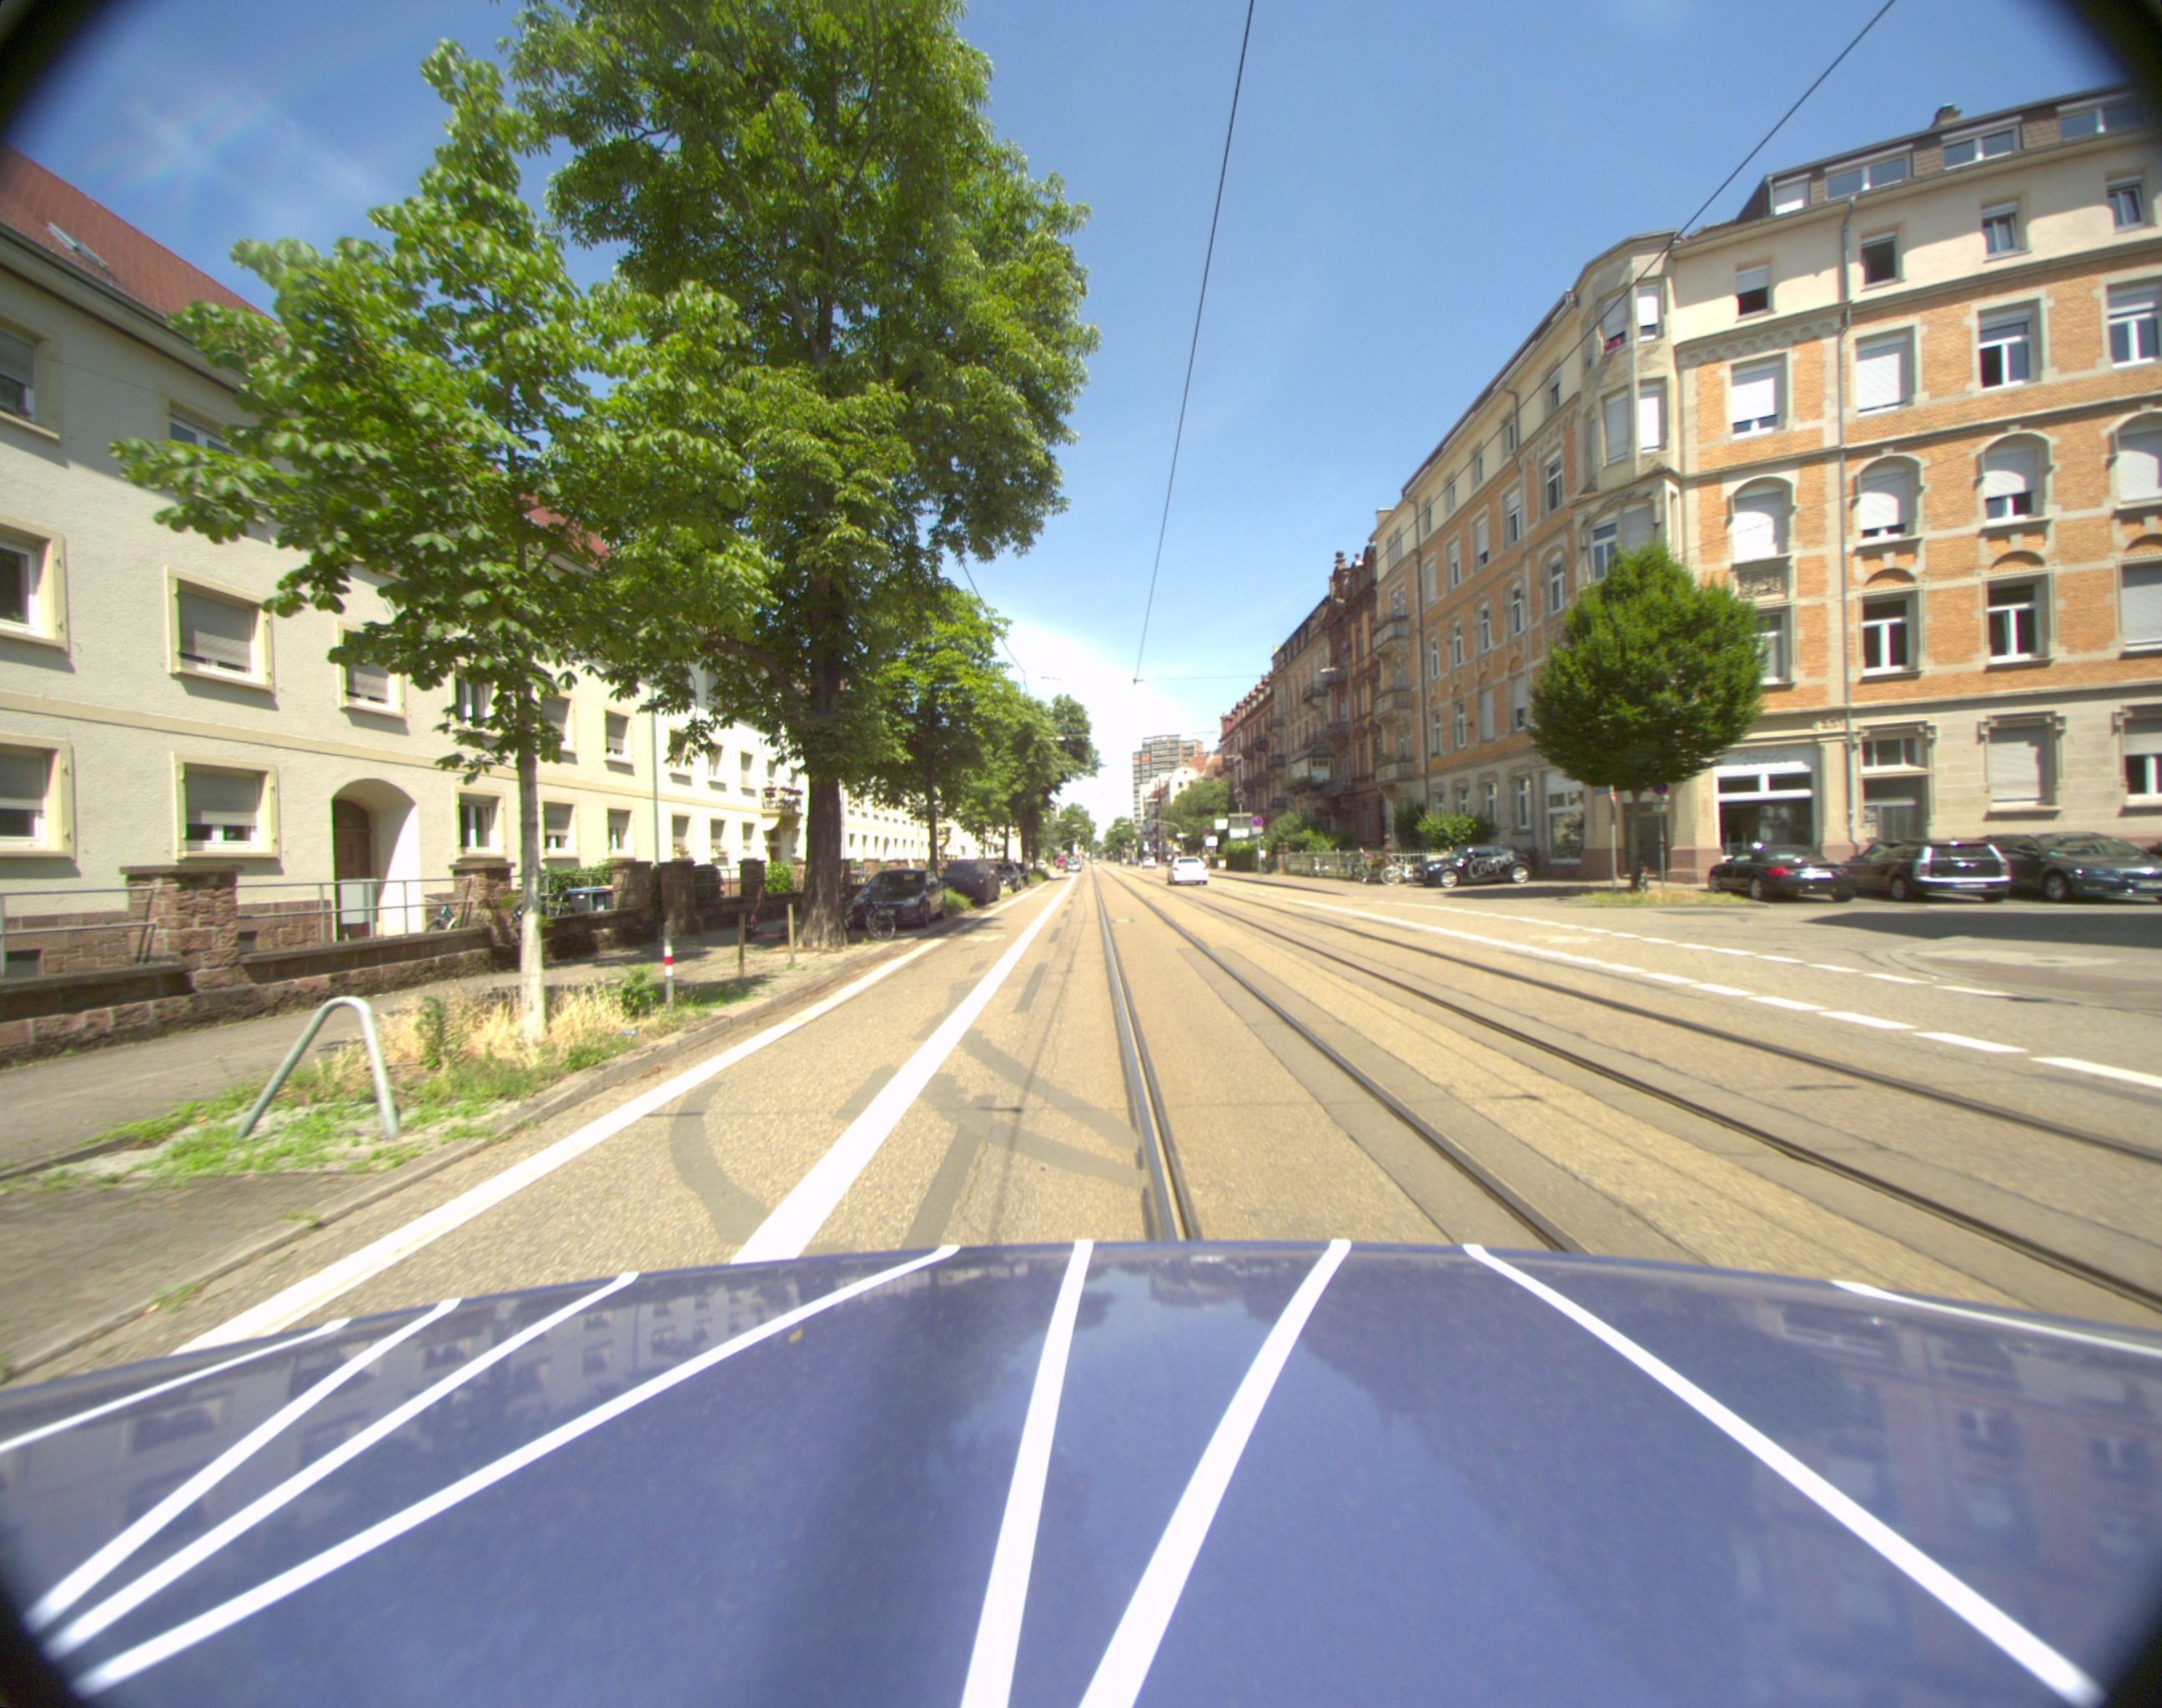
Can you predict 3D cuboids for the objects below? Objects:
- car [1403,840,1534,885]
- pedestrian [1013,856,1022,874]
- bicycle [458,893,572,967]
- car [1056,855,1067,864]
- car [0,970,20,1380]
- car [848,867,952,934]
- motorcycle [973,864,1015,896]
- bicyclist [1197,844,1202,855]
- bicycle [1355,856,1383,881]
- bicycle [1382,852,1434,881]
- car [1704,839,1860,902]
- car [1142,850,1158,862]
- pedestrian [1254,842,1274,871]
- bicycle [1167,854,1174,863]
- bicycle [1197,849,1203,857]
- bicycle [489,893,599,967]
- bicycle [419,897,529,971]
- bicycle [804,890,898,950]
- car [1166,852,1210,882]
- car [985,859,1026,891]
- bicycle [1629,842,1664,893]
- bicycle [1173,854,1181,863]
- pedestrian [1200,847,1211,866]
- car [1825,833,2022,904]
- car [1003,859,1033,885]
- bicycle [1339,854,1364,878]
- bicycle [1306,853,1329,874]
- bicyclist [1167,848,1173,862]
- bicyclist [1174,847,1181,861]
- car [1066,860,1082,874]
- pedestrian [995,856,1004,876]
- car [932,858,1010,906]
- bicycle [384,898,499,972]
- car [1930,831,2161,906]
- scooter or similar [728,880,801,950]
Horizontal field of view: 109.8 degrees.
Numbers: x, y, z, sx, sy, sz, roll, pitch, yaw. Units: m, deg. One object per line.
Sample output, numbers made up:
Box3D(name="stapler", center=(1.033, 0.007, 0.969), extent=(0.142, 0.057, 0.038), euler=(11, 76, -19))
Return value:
Box3D(name="car", center=(13.667, 0.273, 26.955), extent=(3.769, 1.420, 1.713), euler=(-2, 1, 1))
Box3D(name="pedestrian", center=(-6.024, 1.017, 71.817), extent=(0.699, 1.660, 0.756), euler=(-2, 1, -1))
Box3D(name="bicycle", center=(-9.701, 1.271, 13.130), extent=(0.480, 1.072, 1.924), euler=(-2, 0, 0))
Box3D(name="car", center=(-3.252, 0.896, 126.778), extent=(1.737, 1.543, 4.423), euler=(-2, 0, -1))
Box3D(name="car", center=(-4.594, 1.128, 0.226), extent=(1.774, 1.418, 4.861), euler=(-2, 0, -2))
Box3D(name="car", center=(-4.461, 1.092, 19.385), extent=(1.699, 1.410, 4.356), euler=(-2, 0, -2))
Box3D(name="motorcycle", center=(-4.171, 1.234, 36.436), extent=(1.919, 1.425, 0.671), euler=(-2, 0, -8))
Box3D(name="bicyclist", center=(16.567, -0.609, 106.160), extent=(0.564, 1.507, 0.892), euler=(-2, 0, 1))
Box3D(name="bicycle", center=(11.494, 0.570, 30.386), extent=(0.440, 0.978, 1.710), euler=(-2, 0, -1))
Box3D(name="bicycle", center=(12.461, 0.474, 28.979), extent=(1.709, 1.031, 0.551), euler=(-2, 0, 5))
Box3D(name="car", center=(17.555, 0.364, 19.257), extent=(1.627, 1.331, 3.776), euler=(-1, 2, 21))
Box3D(name="car", center=(8.491, 0.285, 94.100), extent=(1.689, 1.441, 4.000), euler=(-1, 0, 2))
Box3D(name="pedestrian", center=(11.388, 0.144, 47.213), extent=(0.853, 1.713, 1.138), euler=(-4, 0, 1))
Box3D(name="bicycle", center=(10.077, 0.510, 85.808), extent=(0.582, 1.072, 1.890), euler=(-1, 0, 0))
Box3D(name="bicycle", center=(16.573, -0.164, 106.138), extent=(0.569, 1.032, 1.829), euler=(-2, 0, 1))
Box3D(name="bicycle", center=(-9.214, 1.265, 13.130), extent=(0.480, 1.072, 1.924), euler=(-2, 0, 0))
Box3D(name="bicycle", center=(-10.541, 1.347, 13.278), extent=(0.480, 1.072, 1.923), euler=(-2, 0, -5))
Box3D(name="bicycle", center=(-4.459, 1.268, 14.810), extent=(1.658, 1.072, 0.606), euler=(-1, 0, -6))
Box3D(name="car", center=(5.455, 0.617, 39.002), extent=(1.760, 1.416, 4.000), euler=(-1, 0, 1))
Box3D(name="car", center=(-3.928, 1.065, 40.196), extent=(1.737, 1.543, 4.453), euler=(-2, 0, -1))
Box3D(name="bicycle", center=(14.956, 0.336, 20.127), extent=(0.500, 1.221, 1.853), euler=(-1, 3, 29))
Box3D(name="bicycle", center=(10.888, 0.495, 85.924), extent=(0.630, 1.072, 1.875), euler=(-1, 0, 0))
Box3D(name="pedestrian", center=(11.334, 0.265, 69.205), extent=(0.874, 1.690, 1.014), euler=(-2, 0, 7))
Box3D(name="car", center=(20.001, 0.276, 18.273), extent=(1.627, 1.431, 3.776), euler=(-1, 2, 21))
Box3D(name="car", center=(-4.008, 1.129, 48.883), extent=(1.661, 1.506, 3.999), euler=(-2, 0, -2))
Box3D(name="bicycle", center=(11.533, 0.513, 32.426), extent=(0.440, 0.978, 1.710), euler=(-2, 0, -1))
Box3D(name="bicycle", center=(11.678, 0.452, 37.568), extent=(0.498, 0.981, 1.710), euler=(-6, 0, -1))
Box3D(name="bicyclist", center=(10.073, 0.077, 85.787), extent=(0.594, 1.535, 0.952), euler=(-1, 0, 0))
Box3D(name="bicyclist", center=(10.886, 0.042, 85.957), extent=(0.635, 1.575, 1.028), euler=(-1, 0, 0))
Box3D(name="car", center=(-0.870, 1.497, 89.279), extent=(1.737, 1.543, 4.423), euler=(-2, 0, -1))
Box3D(name="pedestrian", center=(-6.896, 0.983, 64.439), extent=(0.699, 1.660, 0.756), euler=(1, 1, 0))
Box3D(name="car", center=(-4.153, 1.024, 29.435), extent=(1.952, 1.641, 4.881), euler=(-2, 0, 4))
Box3D(name="bicycle", center=(-11.071, 1.357, 13.237), extent=(0.480, 1.072, 1.923), euler=(-2, 0, -5))
Box3D(name="car", center=(22.169, 0.237, 17.322), extent=(1.742, 1.357, 4.831), euler=(-1, 2, 21))
Box3D(name="scooter or similar", center=(-5.982, 1.128, 14.408), extent=(0.379, 1.206, 1.250), euler=(-1, 1, 31))
